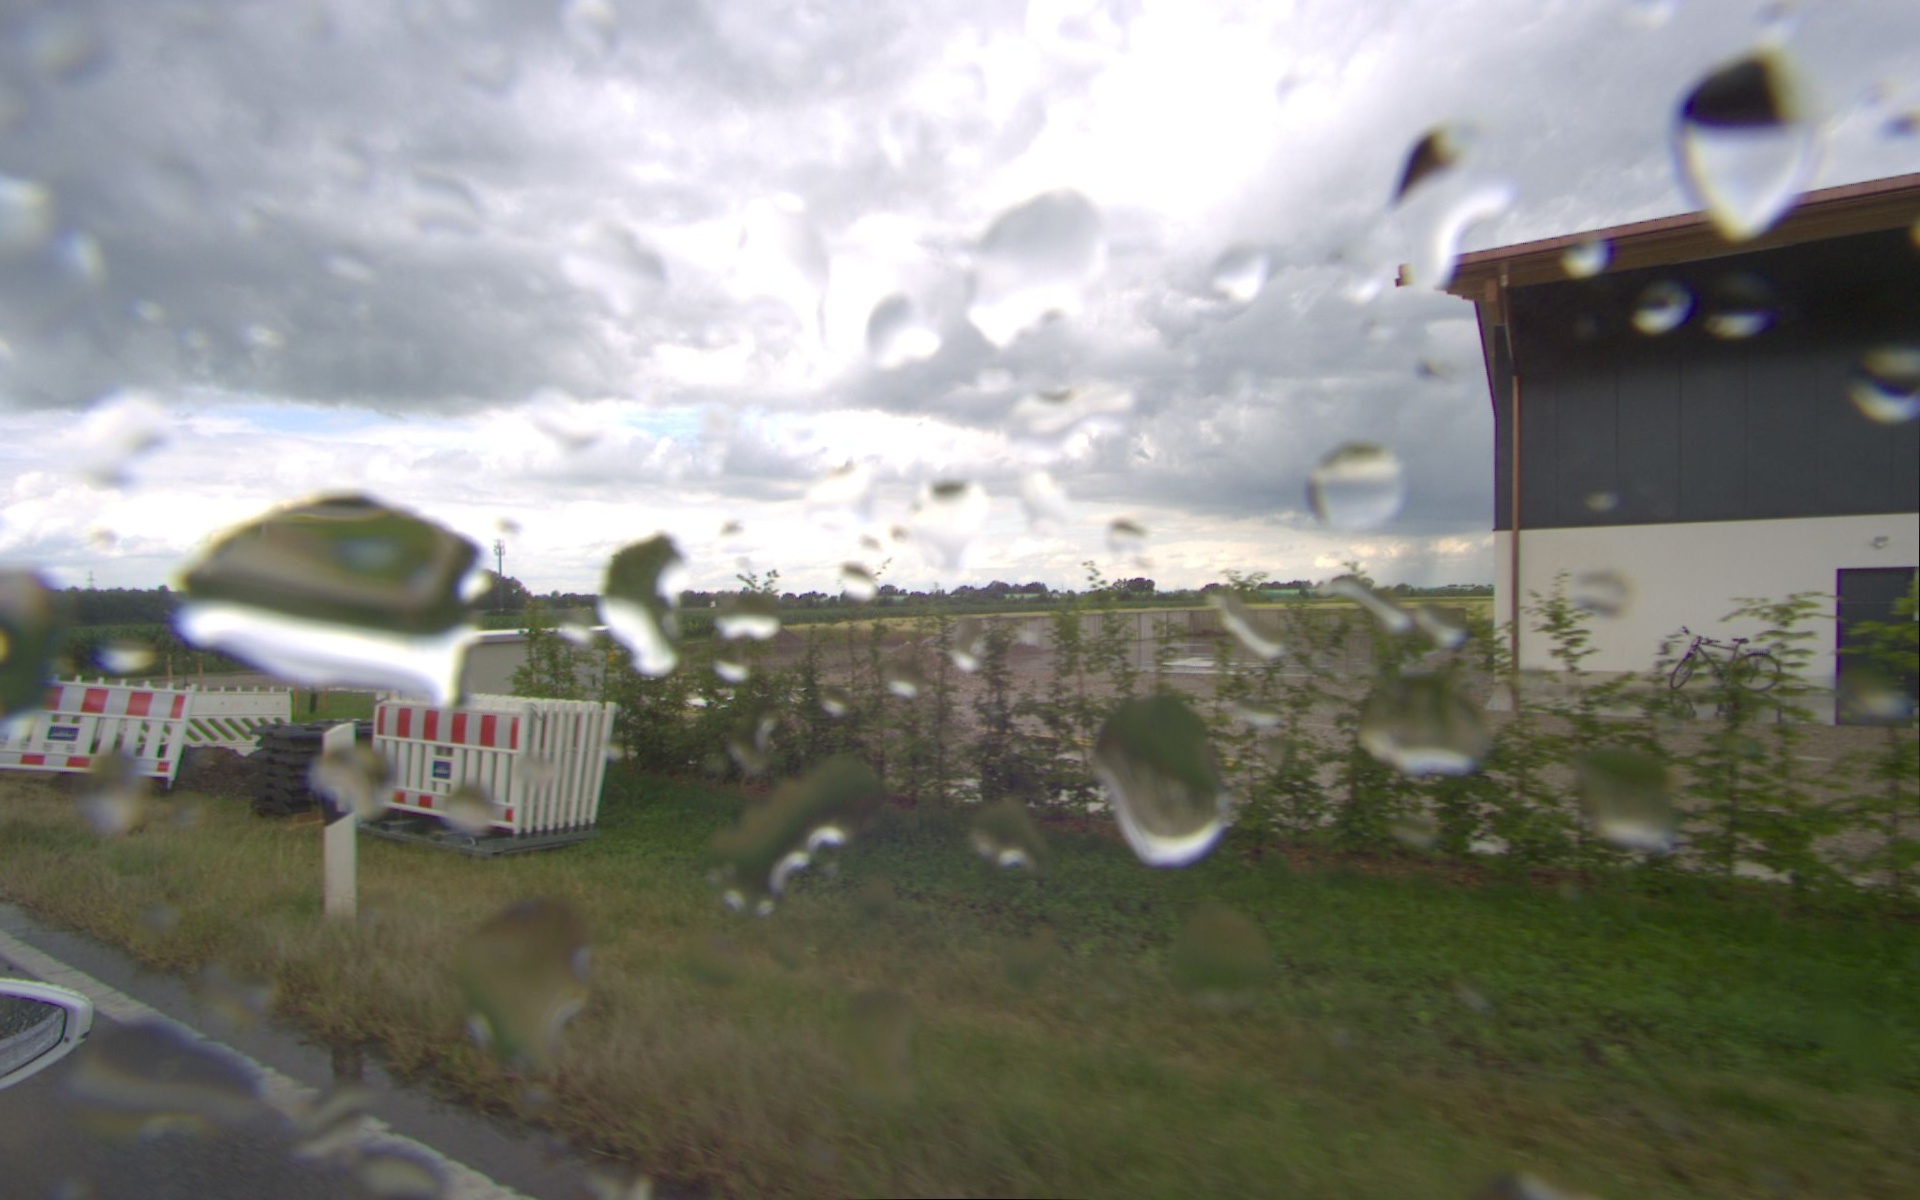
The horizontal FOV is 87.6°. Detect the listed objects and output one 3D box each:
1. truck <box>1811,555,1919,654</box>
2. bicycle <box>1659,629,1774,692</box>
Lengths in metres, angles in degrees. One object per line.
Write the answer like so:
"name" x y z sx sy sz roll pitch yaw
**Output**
"truck" 26.992 0.105 26.889 6.069 2.642 2.112 -1 0 33
"bicycle" 13.696 1.079 18.173 1.637 1.086 0.389 -1 1 33
